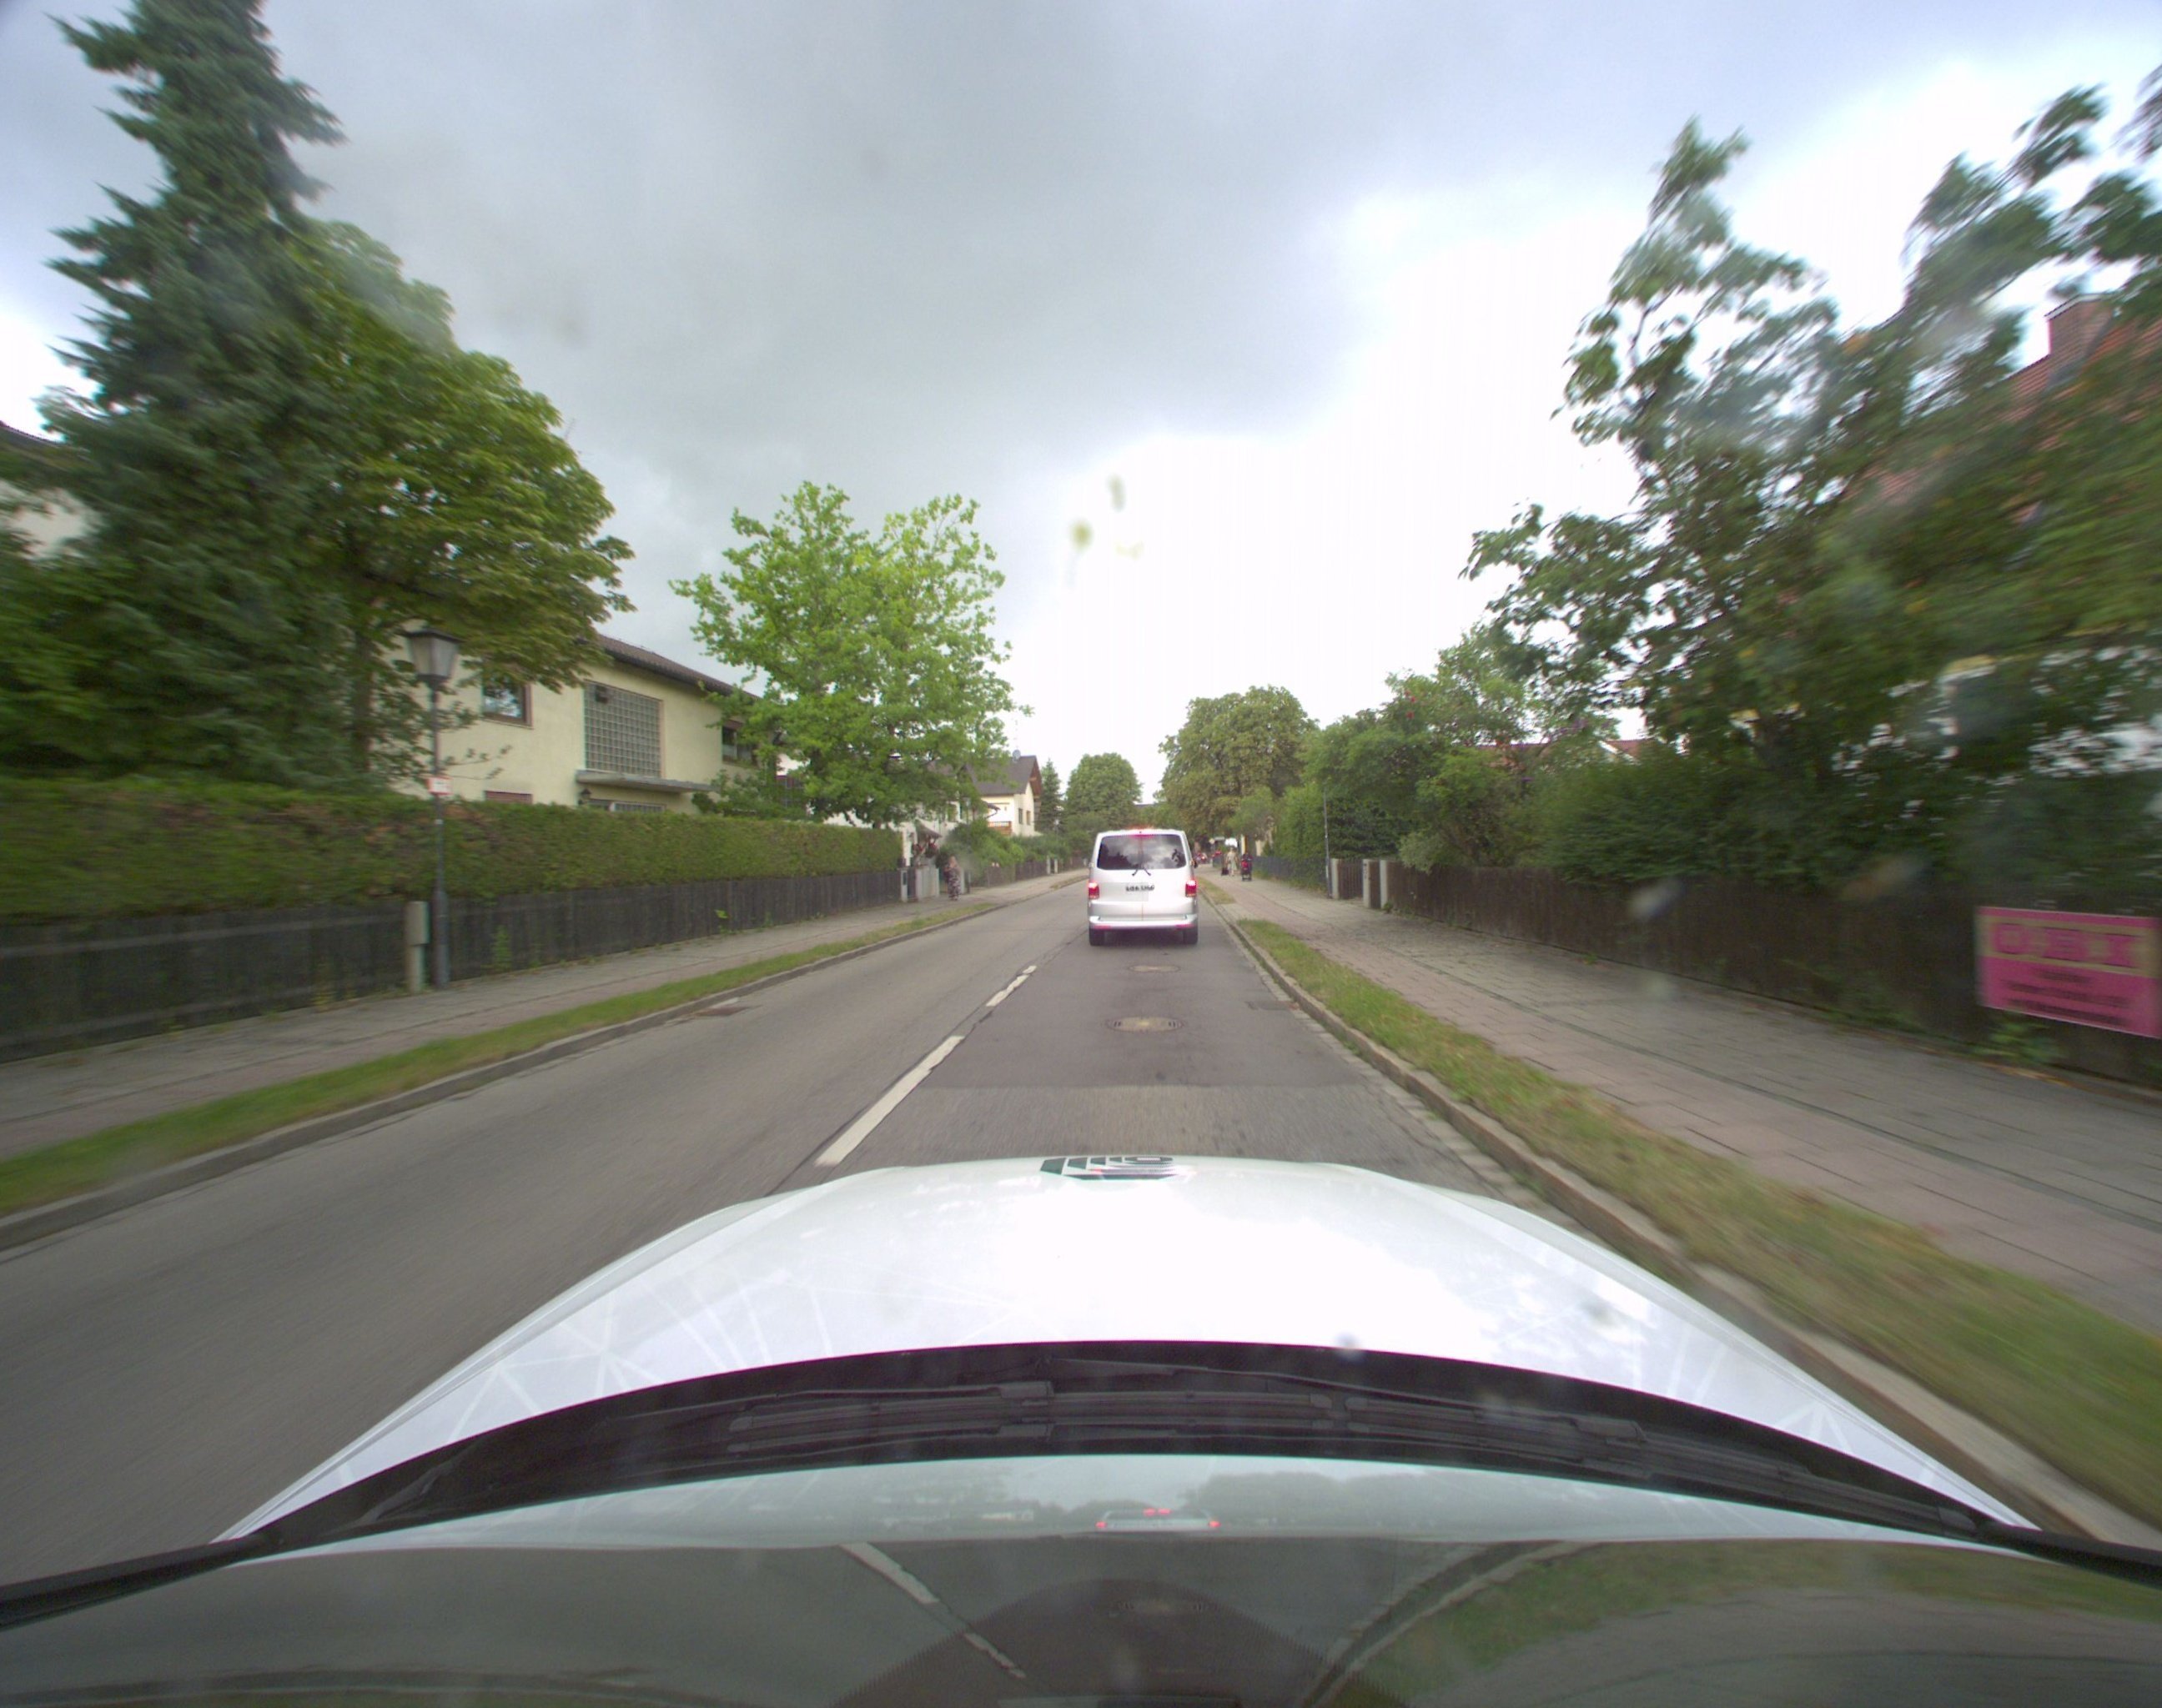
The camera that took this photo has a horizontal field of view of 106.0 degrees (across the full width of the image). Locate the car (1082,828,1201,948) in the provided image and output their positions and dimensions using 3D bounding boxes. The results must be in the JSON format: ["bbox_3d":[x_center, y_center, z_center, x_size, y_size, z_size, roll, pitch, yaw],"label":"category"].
[{"bbox_3d":[1.137,0.561,15.019,1.879,1.912,4.005,-1,0,5],"label":"car"}]

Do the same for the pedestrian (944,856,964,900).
[{"bbox_3d":[-4.513,0.836,28.970,0.620,1.549,0.522,0,-1,1],"label":"pedestrian"}]

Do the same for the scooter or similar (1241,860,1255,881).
[{"bbox_3d":[7.692,0.768,37.563,0.549,0.971,0.620,0,-1,1],"label":"scooter or similar"}]

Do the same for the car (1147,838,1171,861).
[{"bbox_3d":[6.885,-0.376,71.597,1.983,2.014,4.007,0,0,6],"label":"car"}]

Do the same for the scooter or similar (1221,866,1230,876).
[{"bbox_3d":[8.377,0.982,47.246,0.472,0.545,0.459,0,0,1],"label":"scooter or similar"}]

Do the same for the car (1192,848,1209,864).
[{"bbox_3d":[16.284,0.254,110.610,1.980,2.013,4.013,-2,0,12],"label":"car"}]

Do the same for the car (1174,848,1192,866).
[{"bbox_3d":[12.586,0.364,100.520,1.982,2.013,4.010,-2,0,8],"label":"car"}]

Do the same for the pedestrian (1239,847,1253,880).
[{"bbox_3d":[7.745,0.444,38.226,0.549,1.549,0.612,0,-1,1],"label":"pedestrian"}]

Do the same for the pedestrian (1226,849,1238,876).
[{"bbox_3d":[8.654,0.491,46.669,0.620,1.523,0.579,0,-1,1],"label":"pedestrian"}]
